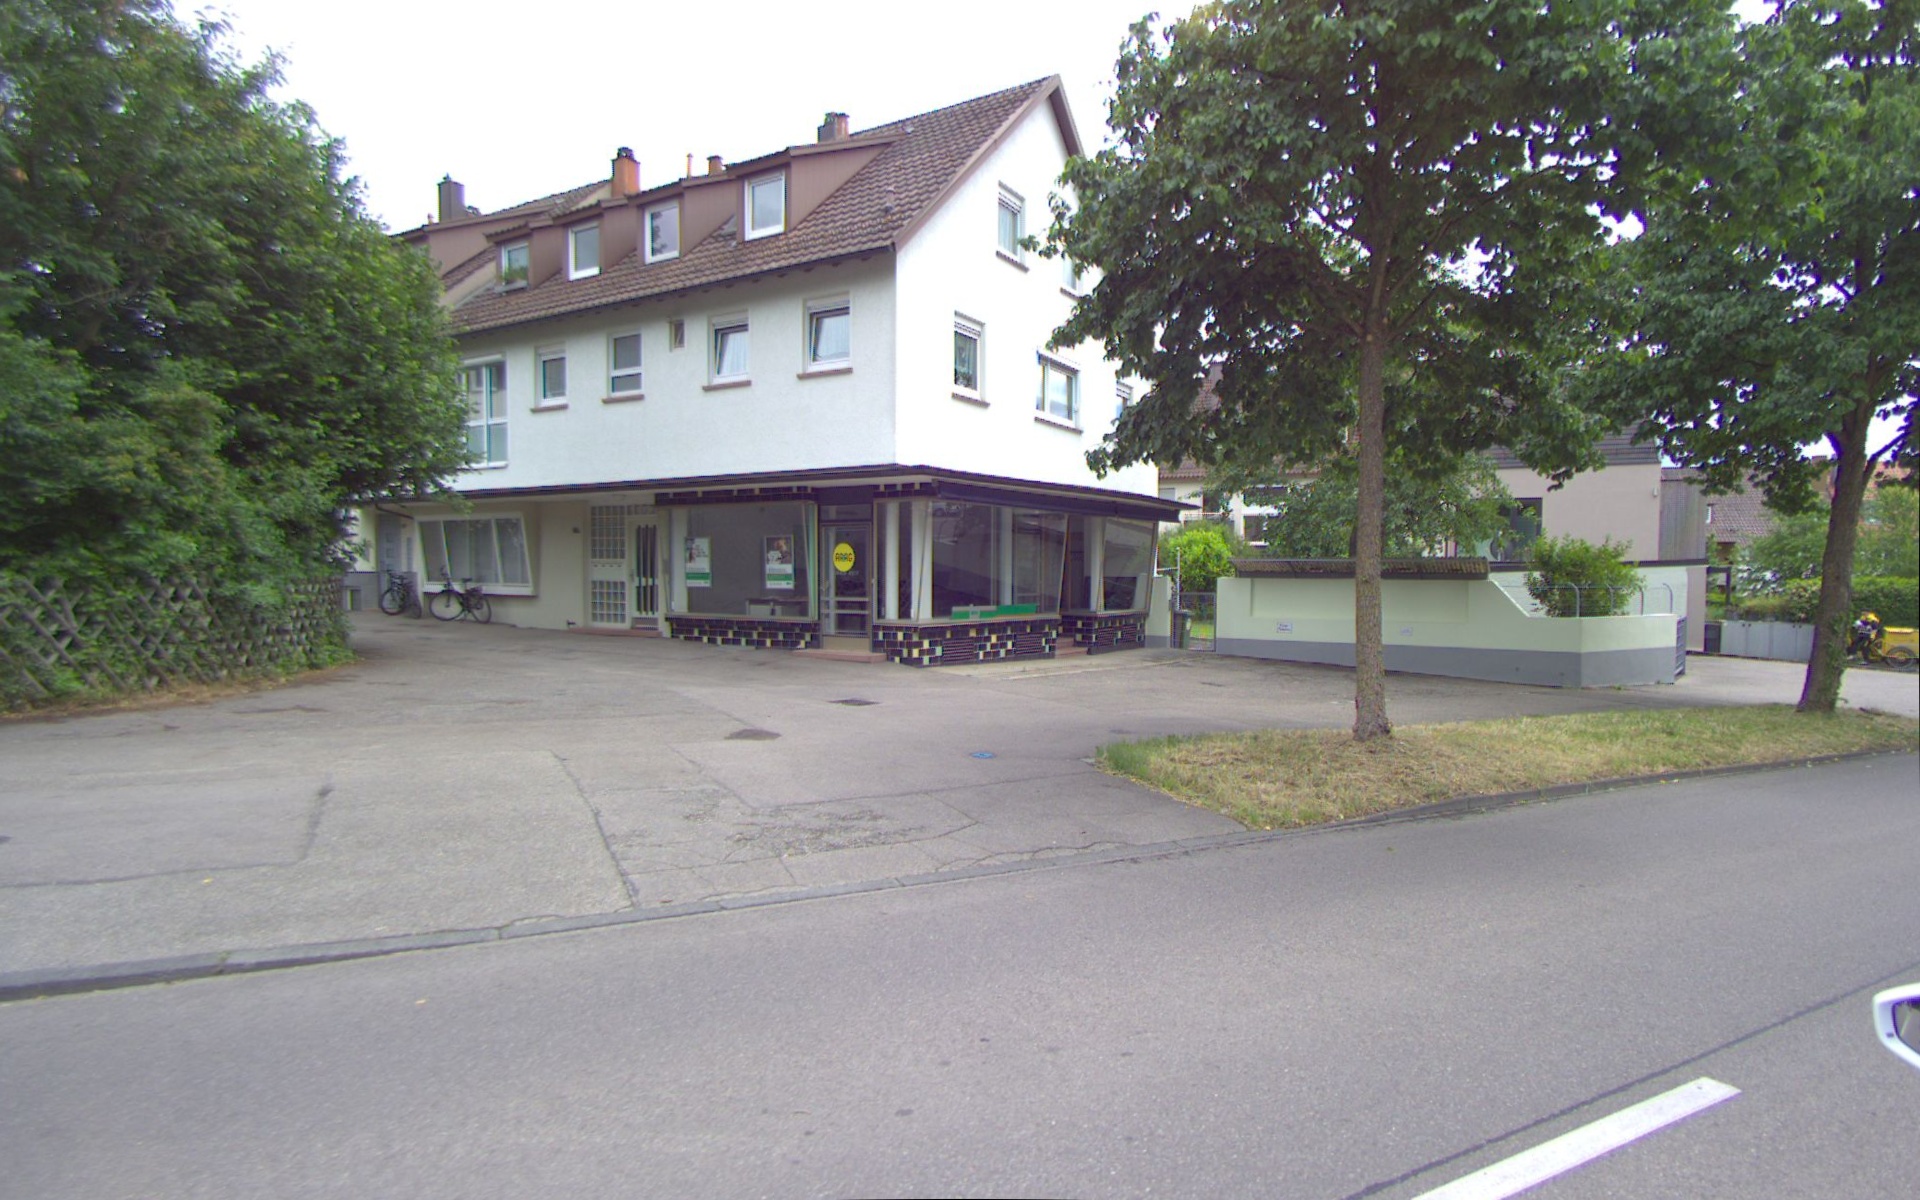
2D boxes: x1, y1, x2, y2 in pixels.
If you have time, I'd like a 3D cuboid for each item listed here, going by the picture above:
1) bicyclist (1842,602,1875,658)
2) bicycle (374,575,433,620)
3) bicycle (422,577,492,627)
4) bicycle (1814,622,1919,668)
[{"bbox_3d":[28.623,0.933,32.025,0.703,1.720,0.843,3,2,41],"label":"bicyclist"},{"bbox_3d":[-12.178,-0.067,21.966,1.382,0.896,0.634,5,3,38],"label":"bicycle"},{"bbox_3d":[-10.490,0.023,20.921,1.619,0.925,0.658,5,3,38],"label":"bicycle"},{"bbox_3d":[28.835,1.413,31.864,2.612,1.283,0.843,3,2,41],"label":"bicycle"}]
